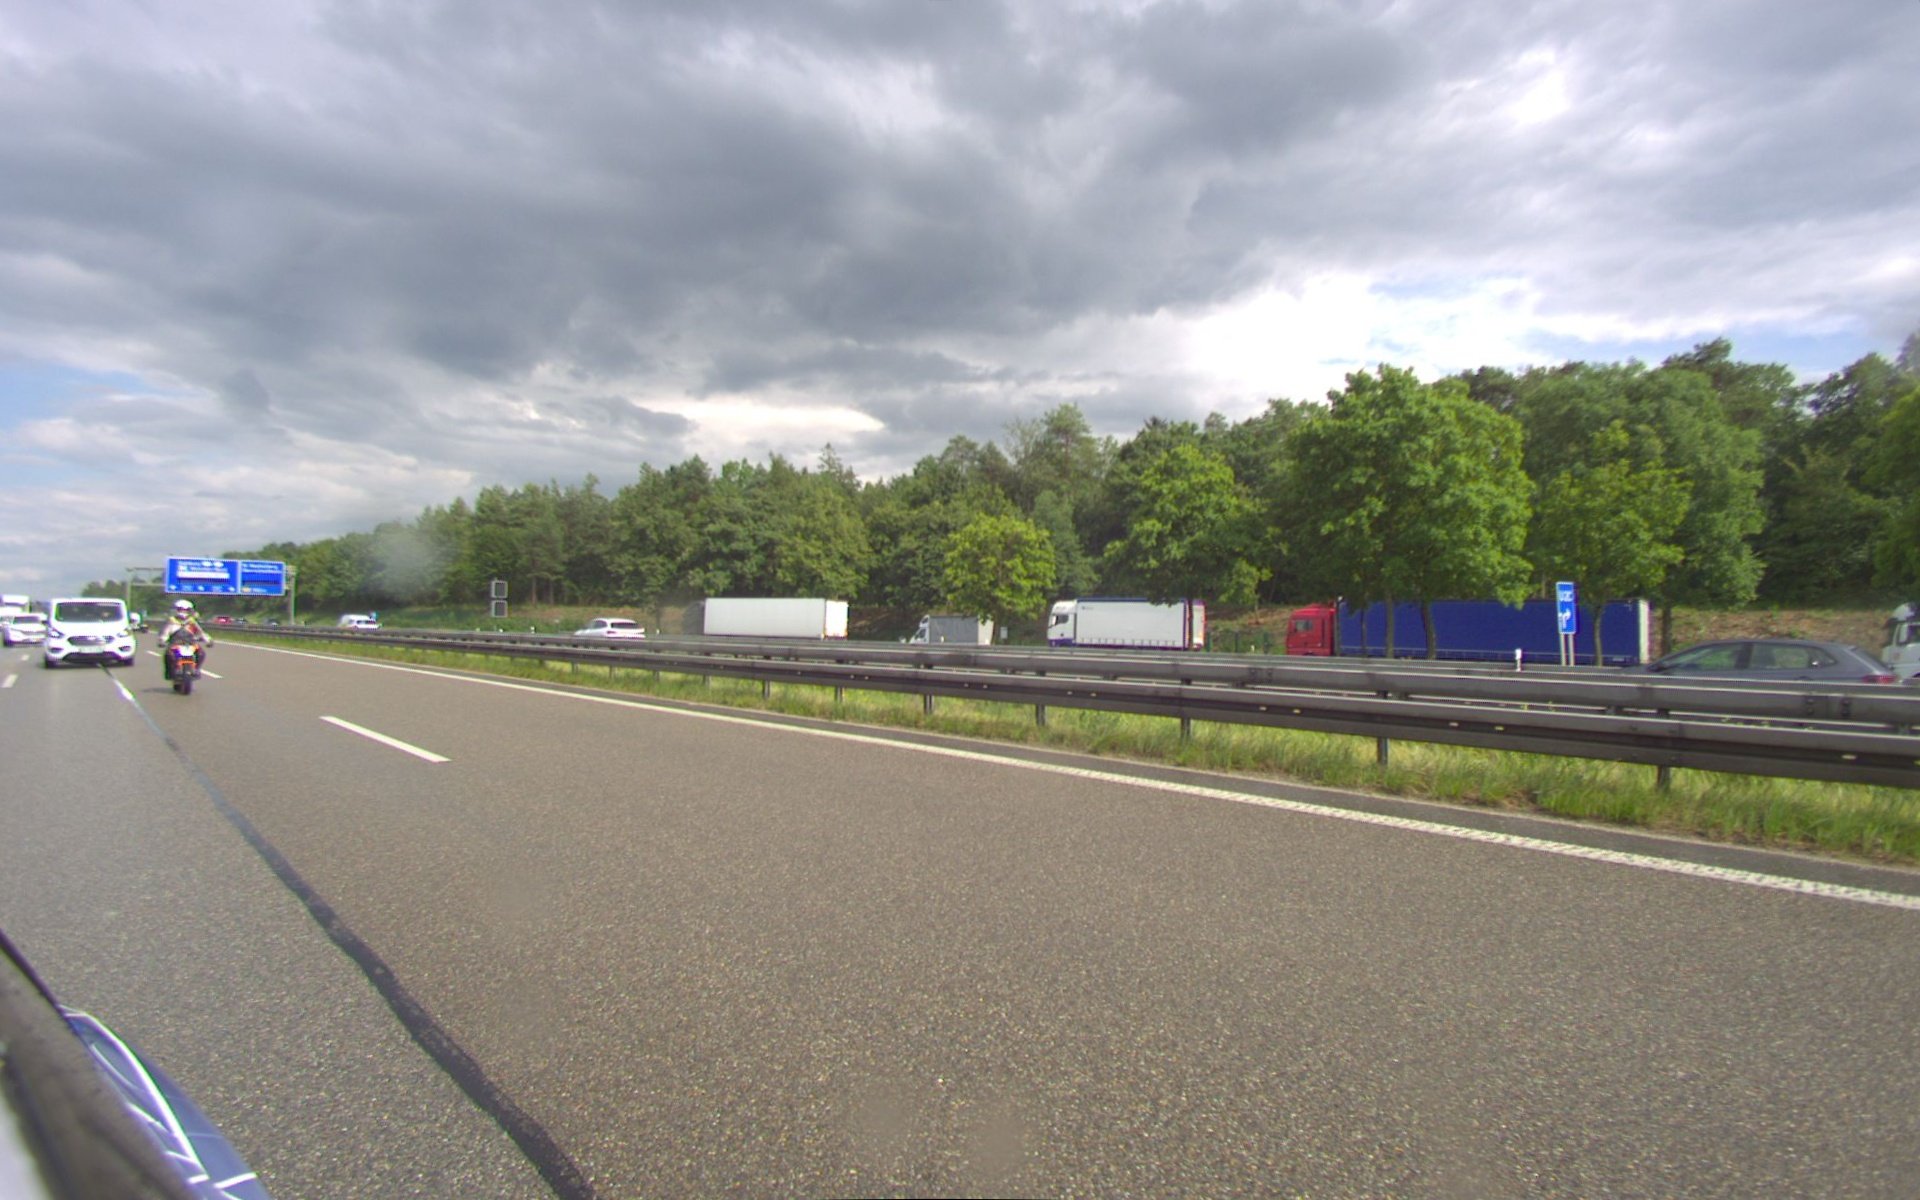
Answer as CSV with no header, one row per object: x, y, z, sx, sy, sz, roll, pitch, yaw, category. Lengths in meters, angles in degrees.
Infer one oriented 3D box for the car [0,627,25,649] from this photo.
-99.491,3.972,105.904,2.316,2.060,5.149,0,0,-42,car

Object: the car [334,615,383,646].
-38.608,1.924,64.942,1.808,1.905,4.785,0,0,-42,car

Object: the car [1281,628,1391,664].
23.487,2.808,63.393,6.128,2.029,1.974,0,0,40,car

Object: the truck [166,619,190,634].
-107.839,3.622,139.534,2.229,1.909,5.453,0,0,-42,truck

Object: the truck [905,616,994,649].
-0.767,2.254,71.591,6.304,2.282,2.100,-1,-1,35,truck

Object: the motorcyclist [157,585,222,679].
-14.584,0.591,19.155,0.871,1.719,1.001,0,0,-44,motorcyclist

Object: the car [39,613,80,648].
-55.430,1.827,62.283,1.808,2.060,4.785,0,0,-42,car

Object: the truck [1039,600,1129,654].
7.907,1.673,64.686,5.079,3.292,2.629,-1,0,38,truck

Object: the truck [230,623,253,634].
-89.030,3.514,125.406,1.865,1.203,4.005,0,0,-42,truck

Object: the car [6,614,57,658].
-46.539,1.756,50.784,1.808,2.060,4.785,0,0,-42,car

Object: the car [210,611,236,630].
-81.444,2.224,111.784,1.808,2.060,4.785,0,0,-42,car

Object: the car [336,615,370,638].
-56.833,2.448,94.705,1.808,2.060,4.785,0,0,-42,car

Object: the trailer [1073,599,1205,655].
10.934,1.635,62.379,7.732,3.257,2.554,-1,-1,39,trailer

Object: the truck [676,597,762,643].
-20.112,1.618,84.478,6.898,3.732,3.181,-1,0,34,truck

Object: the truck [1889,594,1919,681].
39.035,1.421,38.364,5.510,3.298,3.314,-1,0,45,truck

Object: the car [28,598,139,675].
-25.883,0.986,29.867,2.316,2.060,5.149,0,0,-42,car

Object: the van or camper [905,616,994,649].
-0.804,2.253,71.541,6.309,2.282,2.100,-1,-1,35,van or camper

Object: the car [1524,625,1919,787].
11.120,1.366,14.703,1.808,1.905,4.785,0,0,-42,car

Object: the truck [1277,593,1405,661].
20.500,1.401,54.611,5.894,3.482,2.831,-1,0,41,truck

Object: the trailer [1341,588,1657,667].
25.973,1.312,49.756,13.420,3.431,2.793,-1,-2,41,trailer

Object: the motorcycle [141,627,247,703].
-14.399,1.161,18.971,1.171,1.235,3.196,0,0,-45,motorcycle

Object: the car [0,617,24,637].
-103.368,2.928,110.048,2.316,2.060,5.149,0,0,-42,car

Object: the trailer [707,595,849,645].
-14.674,1.589,80.785,12.538,3.767,3.177,-1,-2,35,trailer

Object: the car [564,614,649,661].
-15.497,1.580,44.187,1.808,1.905,4.785,0,0,-42,car
